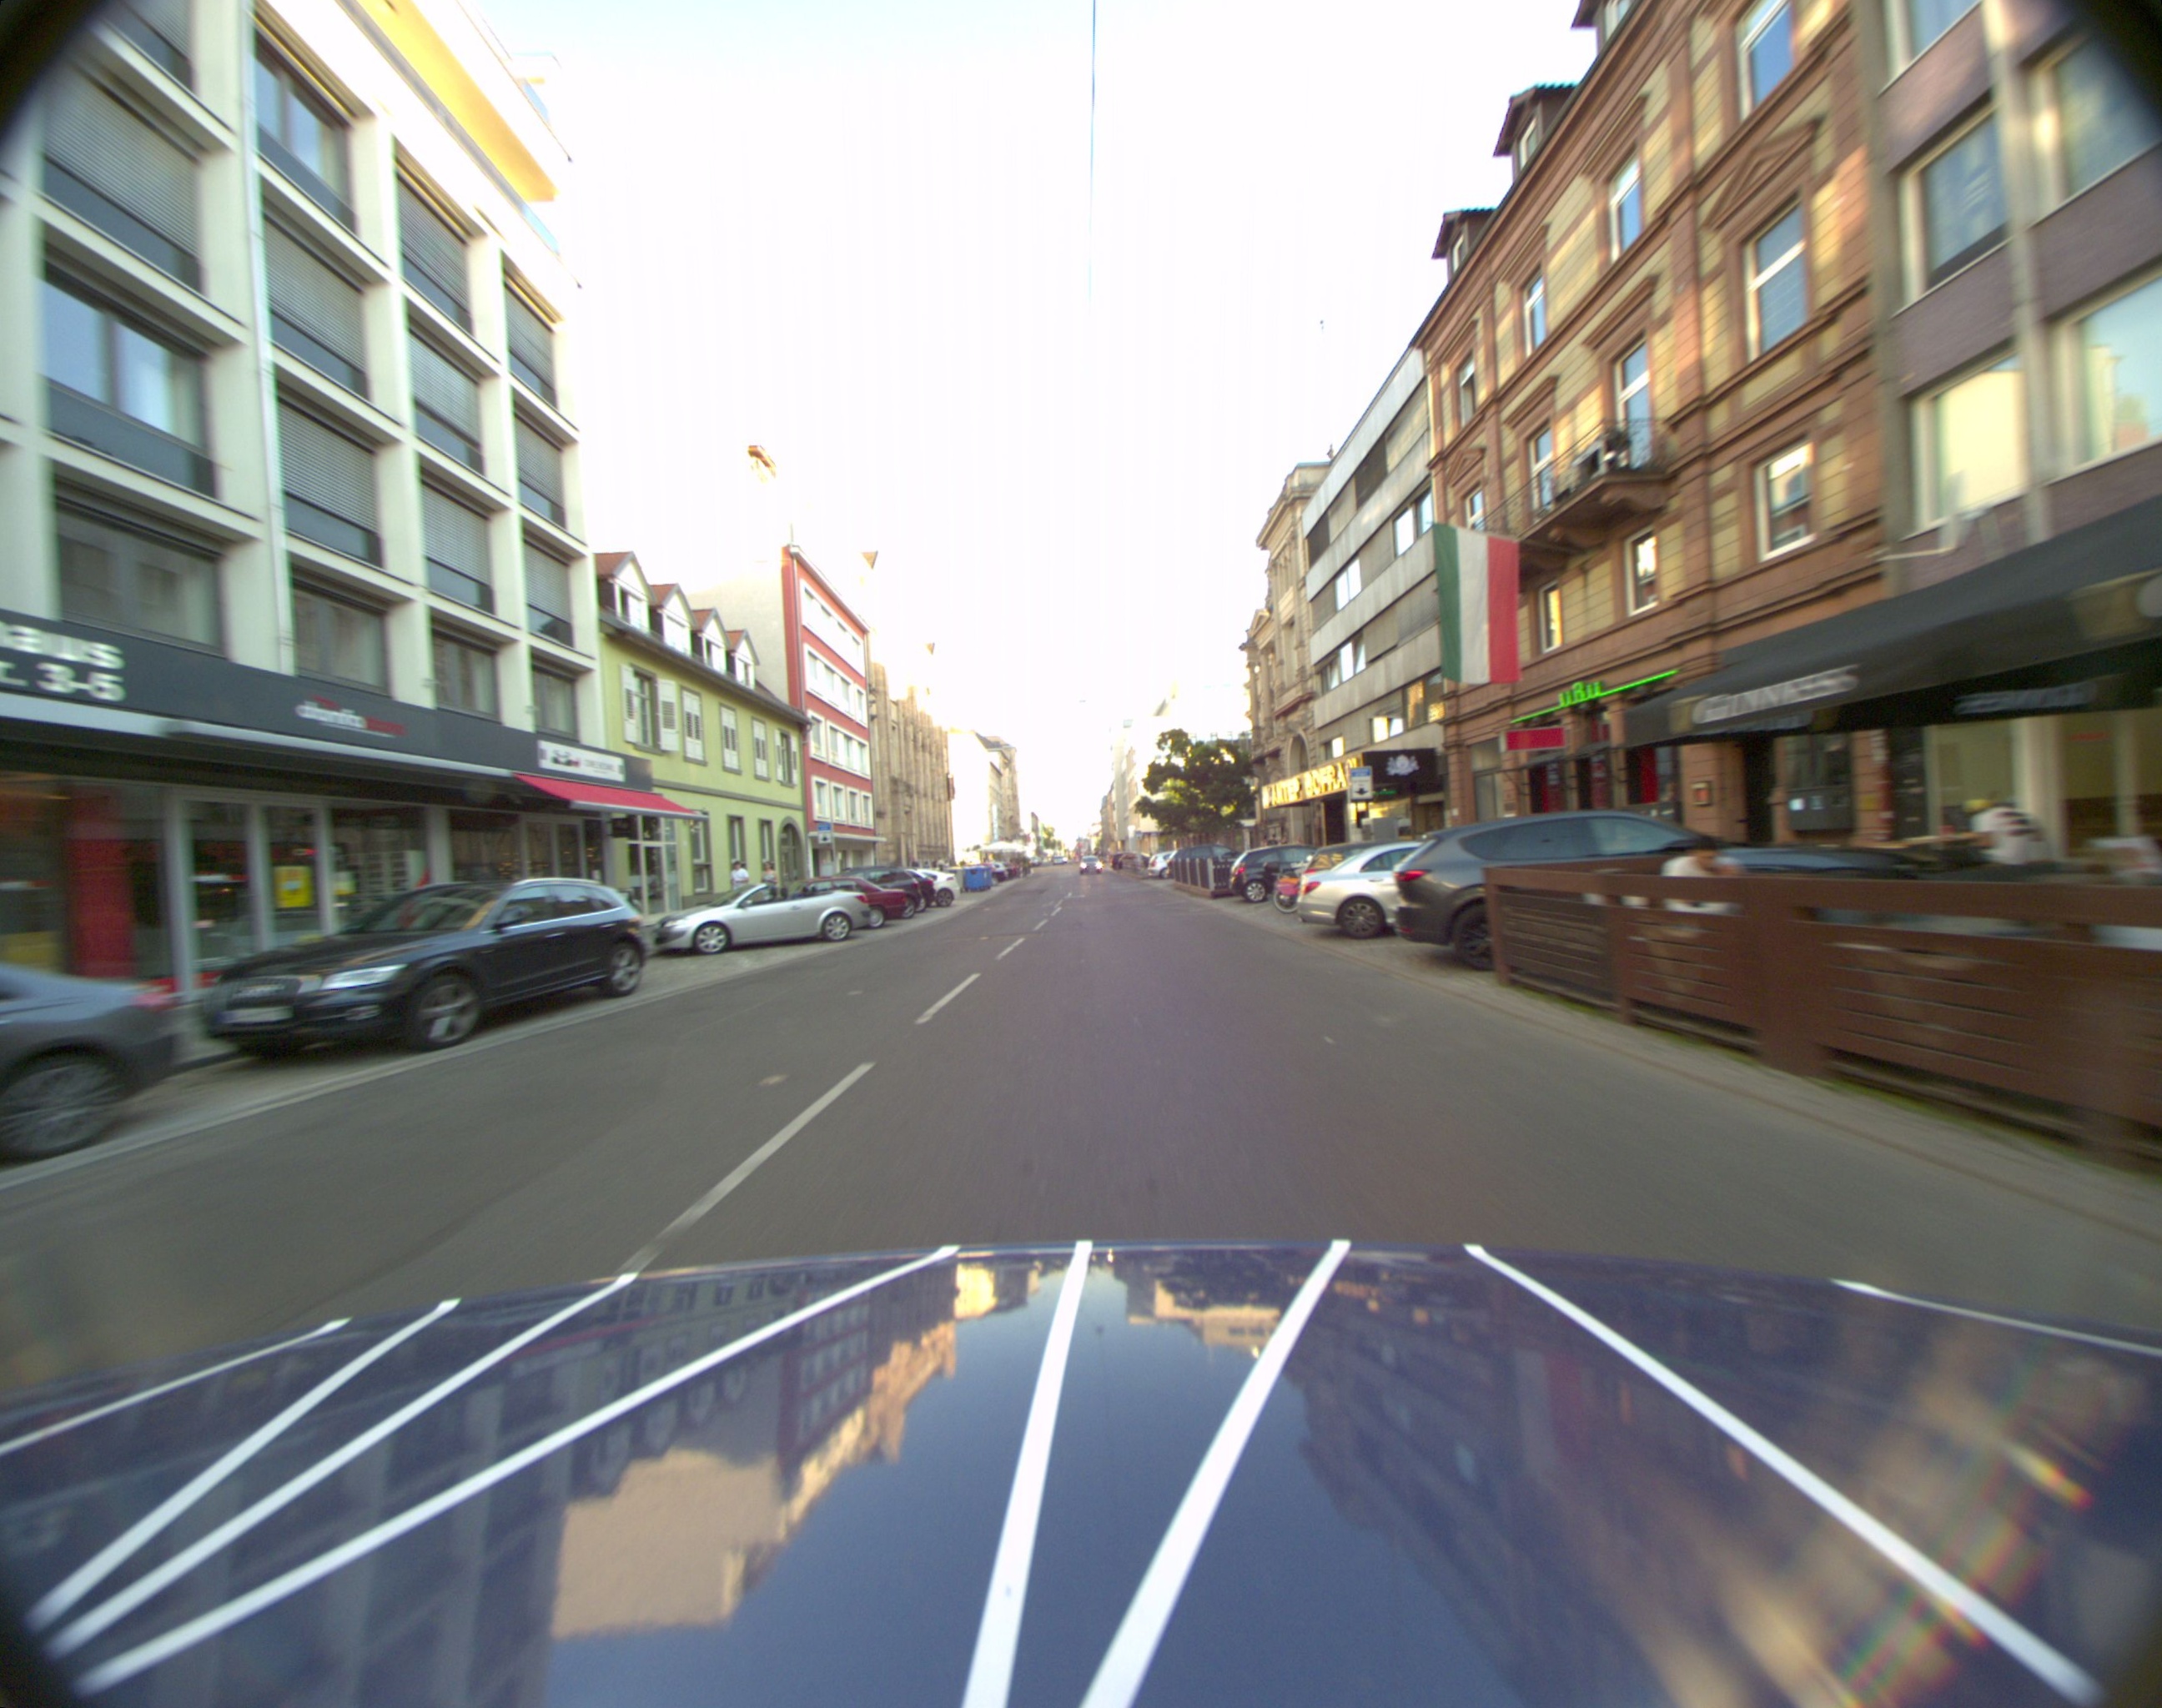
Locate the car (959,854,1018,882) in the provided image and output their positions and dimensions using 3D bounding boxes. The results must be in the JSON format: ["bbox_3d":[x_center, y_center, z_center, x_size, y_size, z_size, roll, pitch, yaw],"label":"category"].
[{"bbox_3d":[-6.784,1.028,55.541,3.841,1.714,1.751,-4,0,-25],"label":"car"}]

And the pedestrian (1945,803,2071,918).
[{"bbox_3d":[10.627,0.071,8.736,0.576,1.238,0.675,-3,0,0],"label":"pedestrian"}]

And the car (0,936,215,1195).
[{"bbox_3d":[-7.429,1.387,3.399,1.746,1.438,4.559,-3,0,1],"label":"car"}]

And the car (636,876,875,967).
[{"bbox_3d":[-6.783,1.321,16.117,4.236,1.431,1.750,-4,1,-42],"label":"car"}]

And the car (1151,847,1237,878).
[{"bbox_3d":[6.072,0.464,40.919,4.420,1.417,1.909,-3,0,8],"label":"car"}]

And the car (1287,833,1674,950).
[{"bbox_3d":[5.876,0.570,11.676,4.830,1.495,1.911,-3,0,29],"label":"car"}]

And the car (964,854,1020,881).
[{"bbox_3d":[-6.838,1.042,58.495,3.841,1.714,1.751,-4,0,-25],"label":"car"}]

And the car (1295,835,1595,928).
[{"bbox_3d":[6.729,0.534,14.588,4.831,1.495,1.911,-3,0,21],"label":"car"}]

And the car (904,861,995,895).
[{"bbox_3d":[-6.798,1.207,39.319,4.234,1.465,1.750,-3,1,-30],"label":"car"}]

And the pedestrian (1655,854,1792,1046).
[{"bbox_3d":[4.977,0.722,5.917,0.575,1.408,0.542,-3,0,11],"label":"pedestrian"}]

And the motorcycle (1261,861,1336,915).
[{"bbox_3d":[5.017,0.792,17.580,1.584,1.151,0.458,-3,2,15],"label":"motorcycle"}]

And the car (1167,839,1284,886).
[{"bbox_3d":[6.302,0.363,33.441,4.835,1.763,1.909,-3,0,8],"label":"car"}]

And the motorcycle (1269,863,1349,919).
[{"bbox_3d":[4.929,0.800,16.500,1.584,1.118,0.513,-3,2,15],"label":"motorcycle"}]

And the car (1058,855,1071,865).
[{"bbox_3d":[-2.686,0.923,122.792,1.907,1.417,4.425,-3,0,1],"label":"car"}]

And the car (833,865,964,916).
[{"bbox_3d":[-6.570,1.276,27.478,4.234,1.465,1.750,-3,1,-30],"label":"car"}]

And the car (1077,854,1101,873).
[{"bbox_3d":[0.708,0.779,64.267,1.907,1.417,4.426,-3,0,1],"label":"car"}]

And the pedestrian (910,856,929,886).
[{"bbox_3d":[-10.603,1.099,49.885,0.849,1.932,1.013,-3,1,5],"label":"pedestrian"}]

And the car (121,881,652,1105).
[{"bbox_3d":[-7.116,1.259,8.610,1.832,1.649,4.363,-3,0,2],"label":"car"}]

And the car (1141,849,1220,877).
[{"bbox_3d":[5.830,0.525,44.467,4.420,1.417,1.909,-3,0,8],"label":"car"}]

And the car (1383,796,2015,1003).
[{"bbox_3d":[6.004,0.476,8.253,4.830,1.723,1.911,-3,0,27],"label":"car"}]

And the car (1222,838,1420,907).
[{"bbox_3d":[6.494,0.502,20.990,4.837,1.558,1.909,-3,0,4],"label":"car"}]

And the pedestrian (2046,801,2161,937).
[{"bbox_3d":[10.039,0.130,7.324,0.576,1.238,0.675,-3,0,0],"label":"pedestrian"}]

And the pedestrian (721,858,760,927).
[{"bbox_3d":[-10.535,1.168,23.504,0.763,2.055,0.719,-3,1,-1],"label":"pedestrian"}]

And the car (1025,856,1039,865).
[{"bbox_3d":[-8.142,1.026,125.836,1.907,1.417,4.425,-3,0,0],"label":"car"}]

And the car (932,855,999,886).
[{"bbox_3d":[-7.463,1.065,48.969,3.841,1.742,1.751,-3,1,-25],"label":"car"}]

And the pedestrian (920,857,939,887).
[{"bbox_3d":[-9.646,1.140,48.422,0.849,1.789,1.013,-3,1,5],"label":"pedestrian"}]

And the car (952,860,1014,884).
[{"bbox_3d":[-6.765,1.227,52.421,3.841,1.339,1.736,-4,0,-25],"label":"car"}]

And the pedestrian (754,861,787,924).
[{"bbox_3d":[-9.571,1.171,23.448,0.612,1.876,0.719,-3,1,-1],"label":"pedestrian"}]

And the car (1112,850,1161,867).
[{"bbox_3d":[5.261,0.430,71.893,4.420,1.417,1.909,-3,0,8],"label":"car"}]

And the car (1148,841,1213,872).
[{"bbox_3d":[7.130,0.199,54.415,4.420,1.951,1.909,-3,0,8],"label":"car"}]

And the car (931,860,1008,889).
[{"bbox_3d":[-6.806,1.209,46.333,4.233,1.465,1.751,-3,1,-25],"label":"car"}]

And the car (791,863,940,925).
[{"bbox_3d":[-6.912,1.234,24.483,4.234,1.607,1.750,-3,1,-30],"label":"car"}]

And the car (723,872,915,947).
[{"bbox_3d":[-6.576,1.317,19.235,4.235,1.431,1.750,-3,1,-34],"label":"car"}]

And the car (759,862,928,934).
[{"bbox_3d":[-6.807,1.206,21.933,4.235,1.667,1.750,-3,1,-34],"label":"car"}]
